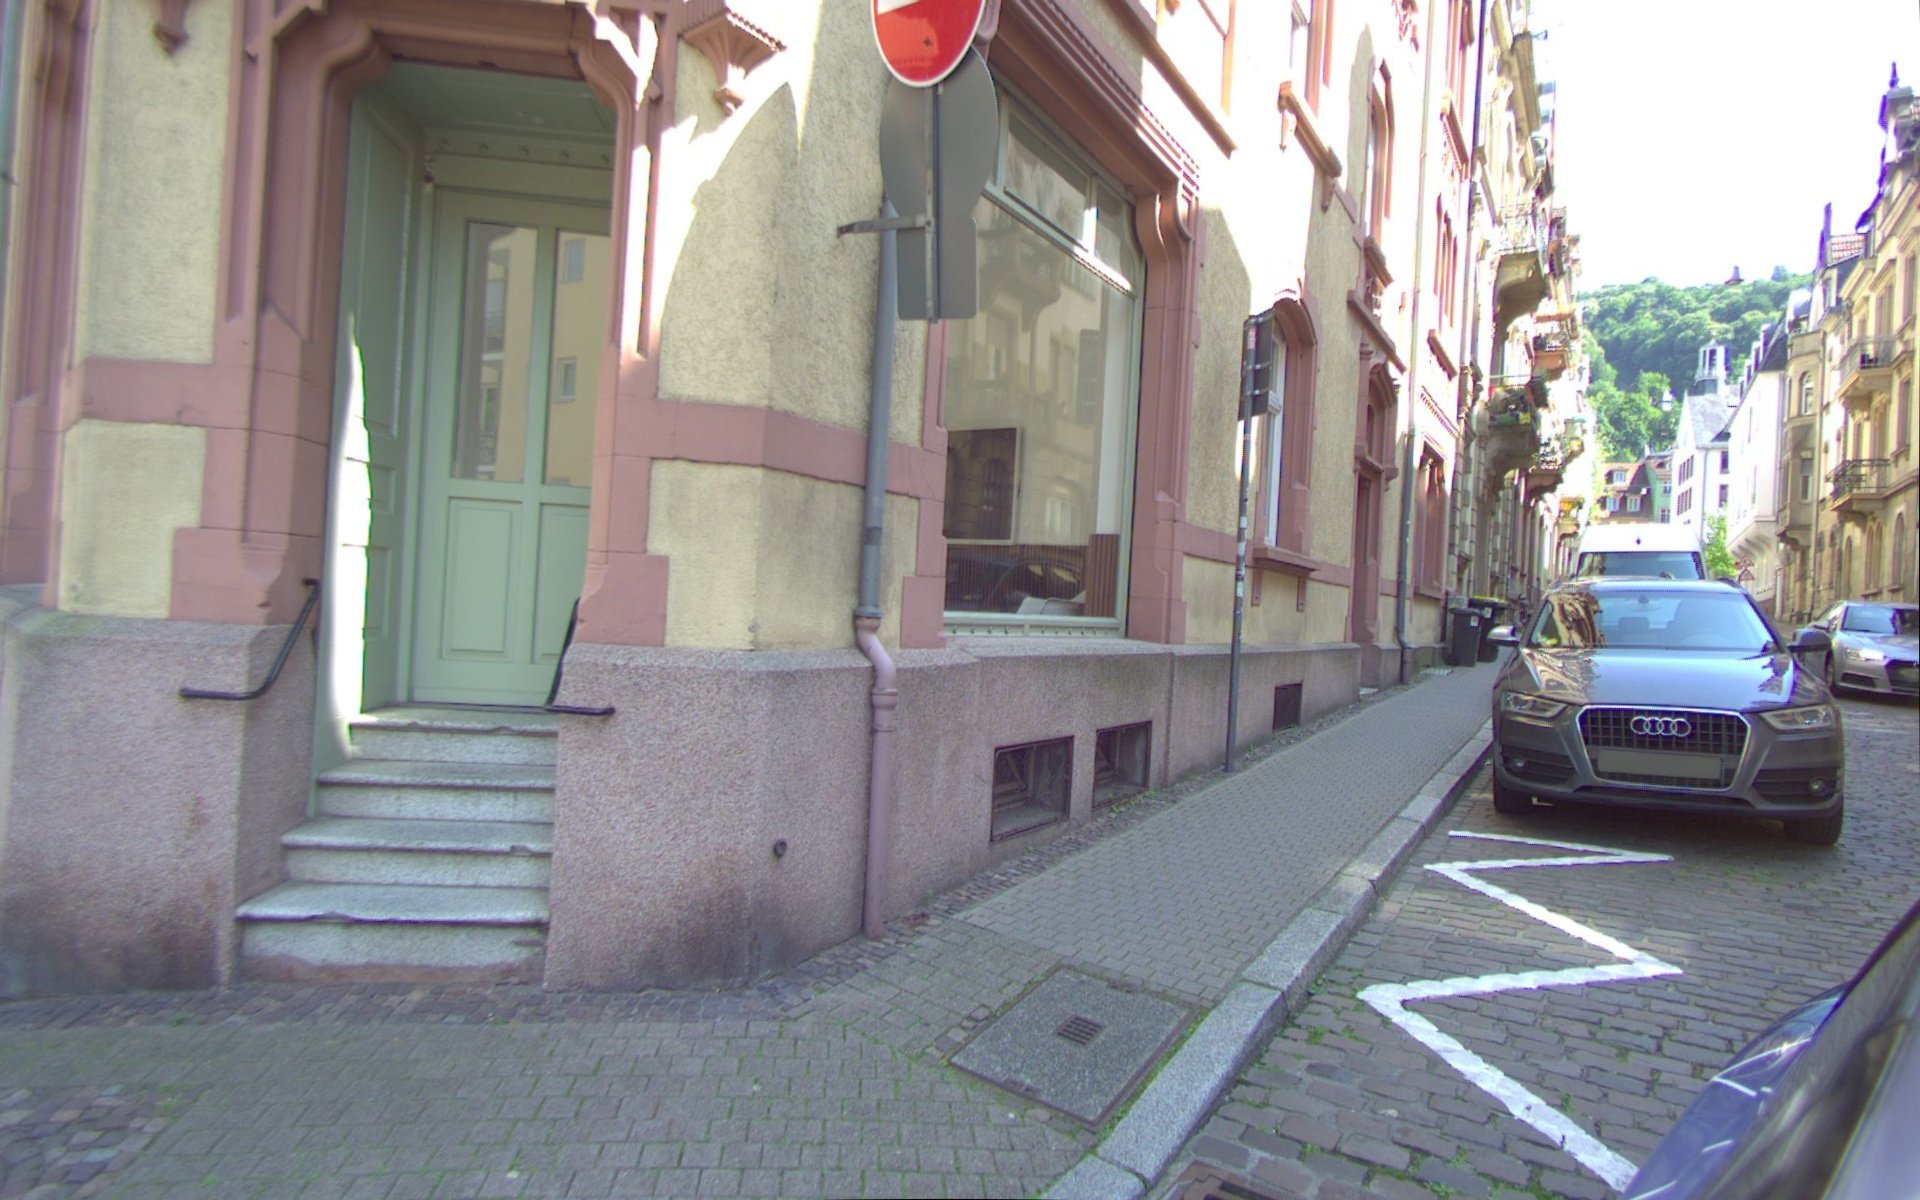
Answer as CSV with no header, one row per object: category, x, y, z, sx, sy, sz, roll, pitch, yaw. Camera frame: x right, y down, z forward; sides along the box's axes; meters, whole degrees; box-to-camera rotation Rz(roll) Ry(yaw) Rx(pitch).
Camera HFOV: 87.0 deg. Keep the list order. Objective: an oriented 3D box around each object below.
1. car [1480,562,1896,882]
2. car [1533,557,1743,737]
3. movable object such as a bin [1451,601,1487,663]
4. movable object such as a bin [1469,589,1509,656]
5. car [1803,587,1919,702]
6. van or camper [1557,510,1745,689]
car,5.029,0.580,7.363,1.848,1.603,4.211,1,1,32
car,7.877,0.428,11.851,1.749,1.727,3.952,0,0,34
movable object such as a bin,8.147,0.506,16.199,0.437,0.969,0.345,2,-1,34
movable object such as a bin,8.952,0.380,17.122,0.514,1.103,0.416,2,-1,34
car,14.130,0.612,15.138,1.865,1.511,4.329,3,1,34
van or camper,12.061,-0.121,17.925,2.211,2.551,6.689,3,3,33
